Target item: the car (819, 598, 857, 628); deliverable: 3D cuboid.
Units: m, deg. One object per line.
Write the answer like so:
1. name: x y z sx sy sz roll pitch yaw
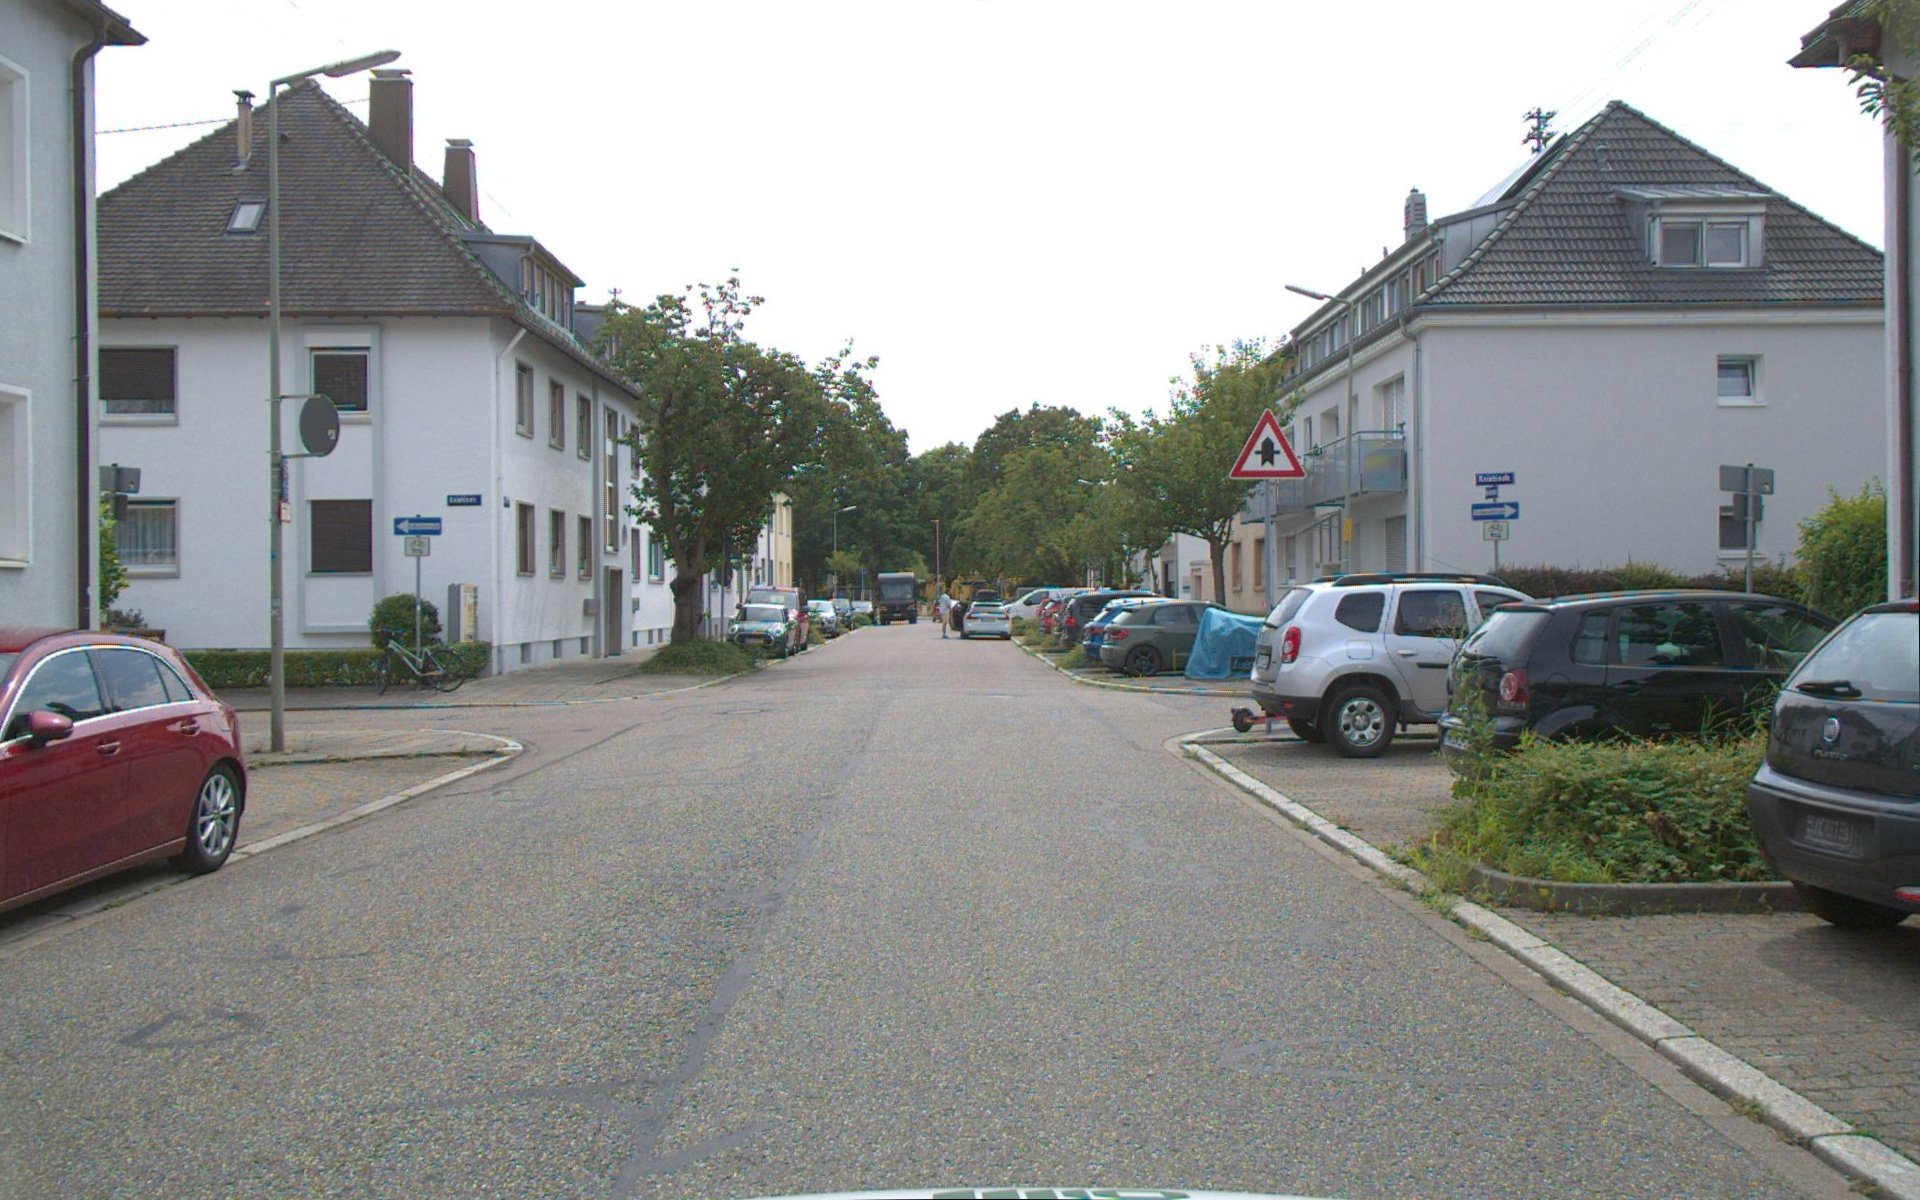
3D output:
1. car: -6.116 0.650 83.202 1.618 1.401 3.721 -3 0 -1

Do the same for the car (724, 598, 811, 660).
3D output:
1. car: -5.331 0.769 46.220 1.727 1.581 3.732 -3 0 3

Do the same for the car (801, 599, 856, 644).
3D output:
1. car: -4.616 0.736 58.363 1.618 1.487 3.551 -3 0 -1

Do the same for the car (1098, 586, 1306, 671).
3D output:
1. car: 4.562 0.520 31.595 3.671 1.389 1.773 -3 0 0

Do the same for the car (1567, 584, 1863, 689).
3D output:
1. car: 11.389 0.536 25.122 3.724 1.468 1.663 -1 0 0

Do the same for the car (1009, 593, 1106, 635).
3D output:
1. car: 4.080 0.594 69.677 3.906 1.545 1.722 -3 0 -1

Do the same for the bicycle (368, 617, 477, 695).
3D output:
1. bicycle: -8.900 0.925 27.426 1.602 1.199 0.435 -3 0 -5

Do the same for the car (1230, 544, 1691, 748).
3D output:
1. car: 4.714 0.418 16.022 3.843 1.661 1.868 -3 0 0

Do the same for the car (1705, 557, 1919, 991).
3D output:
1. car: 5.321 0.522 6.565 3.906 1.534 1.712 -3 0 -1

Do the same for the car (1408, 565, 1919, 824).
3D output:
1. car: 5.224 0.564 11.126 3.906 1.446 1.712 -3 0 -1

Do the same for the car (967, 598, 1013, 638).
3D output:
1. car: 1.141 0.672 63.518 1.652 1.377 3.827 -3 0 1

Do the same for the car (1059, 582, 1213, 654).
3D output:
1. car: 4.435 0.450 41.993 3.671 1.591 1.773 -3 0 0

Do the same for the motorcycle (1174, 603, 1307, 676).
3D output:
1. motorcycle: 4.920 0.691 29.132 2.149 1.232 0.939 -1 0 -3

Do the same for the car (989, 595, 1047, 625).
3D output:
1. car: 3.530 0.625 100.965 3.457 1.630 1.773 -3 0 0

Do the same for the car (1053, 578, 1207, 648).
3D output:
1. car: 4.528 0.331 44.557 3.905 1.646 1.867 -3 0 0

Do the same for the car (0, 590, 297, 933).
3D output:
1. car: -5.183 0.759 8.305 1.839 1.512 4.512 -3 0 0

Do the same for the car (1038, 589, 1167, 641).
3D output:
1. car: 4.534 0.474 52.982 3.906 1.464 1.722 -3 0 -1

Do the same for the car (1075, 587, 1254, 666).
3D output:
1. car: 4.198 0.535 34.260 3.446 1.437 1.558 -3 0 0

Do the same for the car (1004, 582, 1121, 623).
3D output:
1. car: 4.450 0.106 71.955 4.875 1.545 1.768 -3 0 -2

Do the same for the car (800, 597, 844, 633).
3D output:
1. car: -5.773 0.604 69.432 1.618 1.401 3.719 -3 0 -3

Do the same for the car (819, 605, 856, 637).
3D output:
1. car: -5.511 0.935 74.495 1.508 1.324 3.719 -3 0 -3

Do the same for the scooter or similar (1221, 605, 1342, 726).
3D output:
1. scooter or similar: 3.584 0.720 18.456 1.217 1.265 0.421 -3 0 -13

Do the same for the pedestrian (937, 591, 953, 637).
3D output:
1. pedestrian: -0.565 0.531 62.859 0.511 1.734 0.445 -3 0 3

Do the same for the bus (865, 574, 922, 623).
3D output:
1. bus: -4.081 -0.095 103.582 2.942 2.809 8.924 -3 0 1

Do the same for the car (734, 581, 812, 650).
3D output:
1. car: -5.789 0.465 51.723 1.953 2.049 4.519 -1 0 -1
